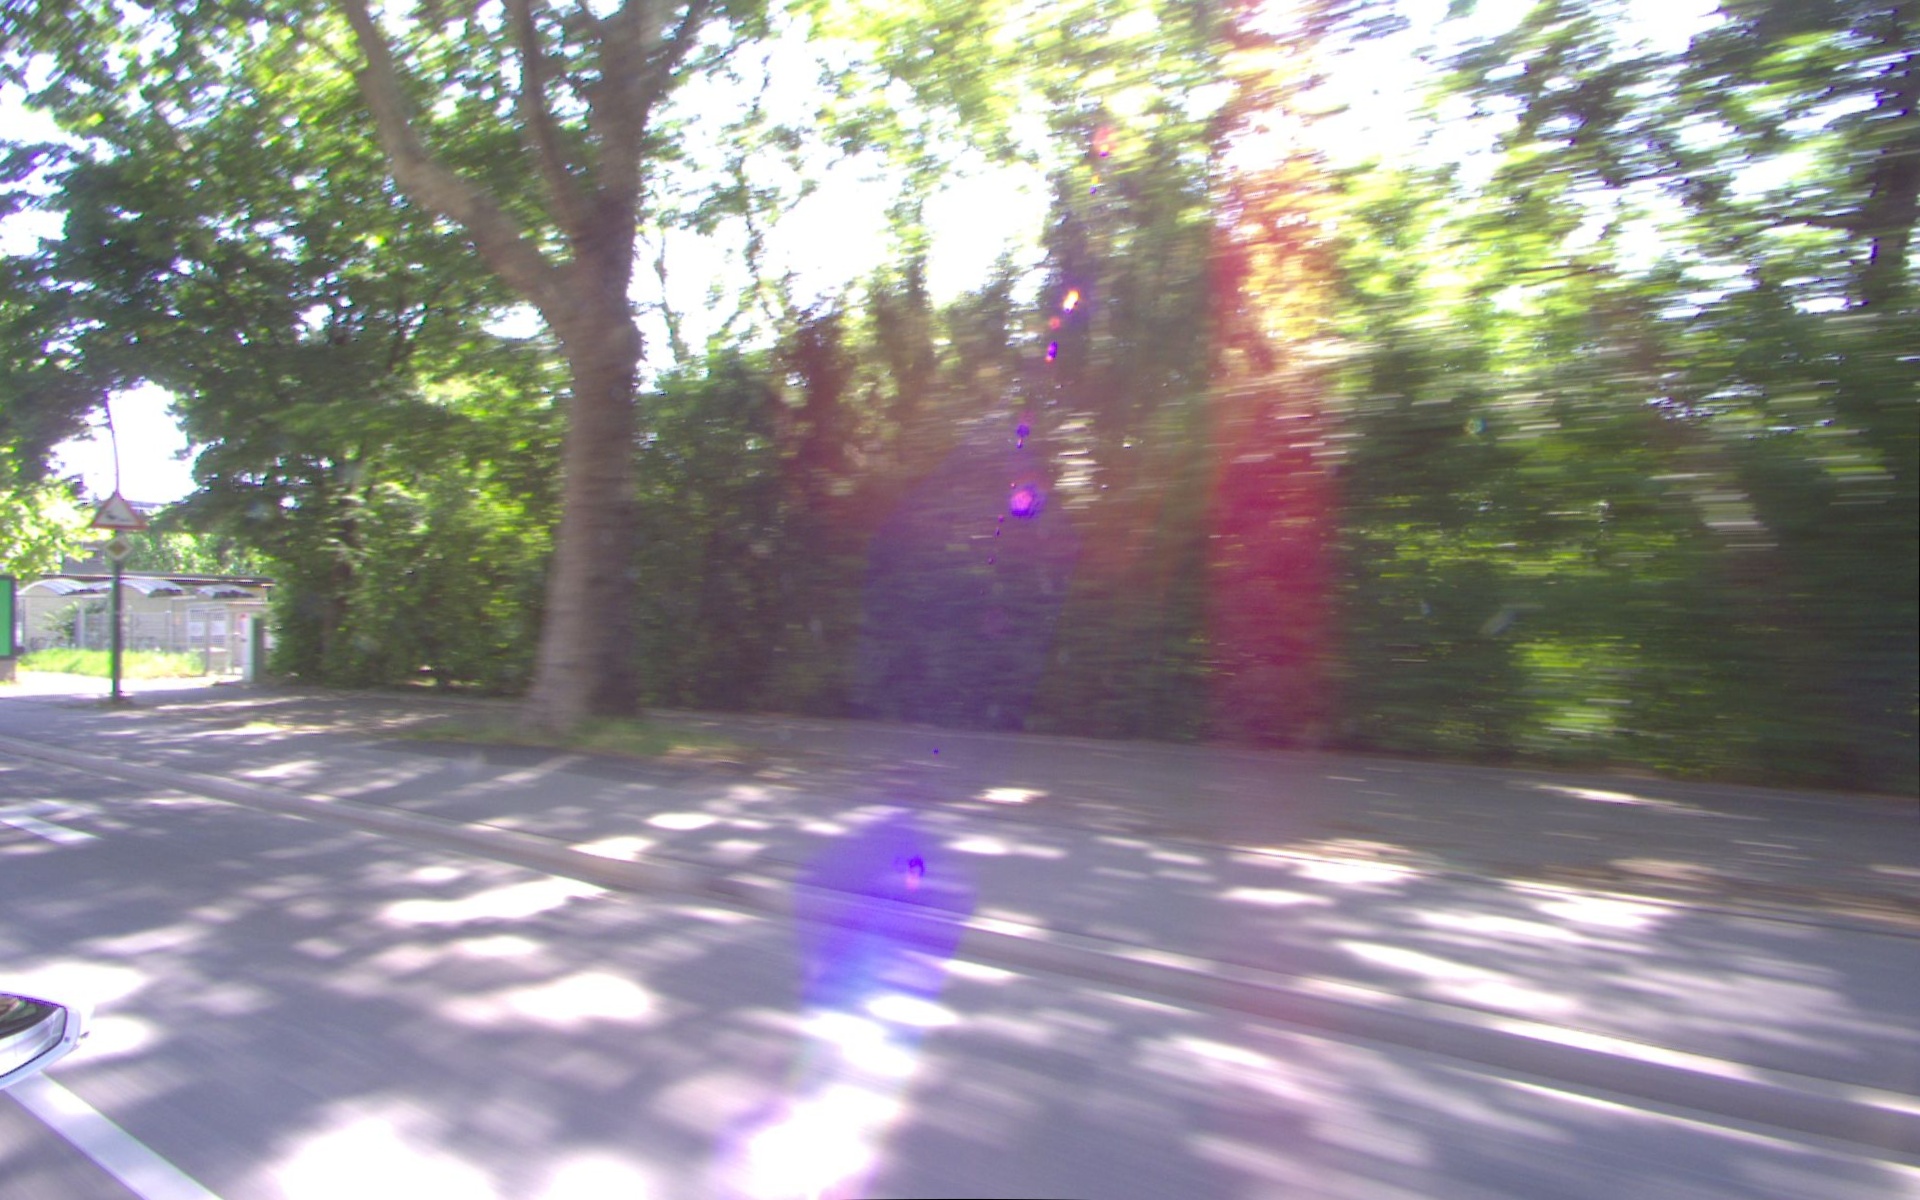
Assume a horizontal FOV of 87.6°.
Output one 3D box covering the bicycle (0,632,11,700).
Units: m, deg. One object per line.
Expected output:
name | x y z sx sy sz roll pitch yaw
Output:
bicycle | -17.614 1.161 17.671 2.147 1.163 0.713 0 1 32

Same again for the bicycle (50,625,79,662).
bicycle | -29.135 1.409 32.579 1.157 1.195 0.388 0 -1 34

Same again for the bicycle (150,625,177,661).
bicycle | -27.239 1.460 34.242 1.157 1.195 0.388 0 -1 34
